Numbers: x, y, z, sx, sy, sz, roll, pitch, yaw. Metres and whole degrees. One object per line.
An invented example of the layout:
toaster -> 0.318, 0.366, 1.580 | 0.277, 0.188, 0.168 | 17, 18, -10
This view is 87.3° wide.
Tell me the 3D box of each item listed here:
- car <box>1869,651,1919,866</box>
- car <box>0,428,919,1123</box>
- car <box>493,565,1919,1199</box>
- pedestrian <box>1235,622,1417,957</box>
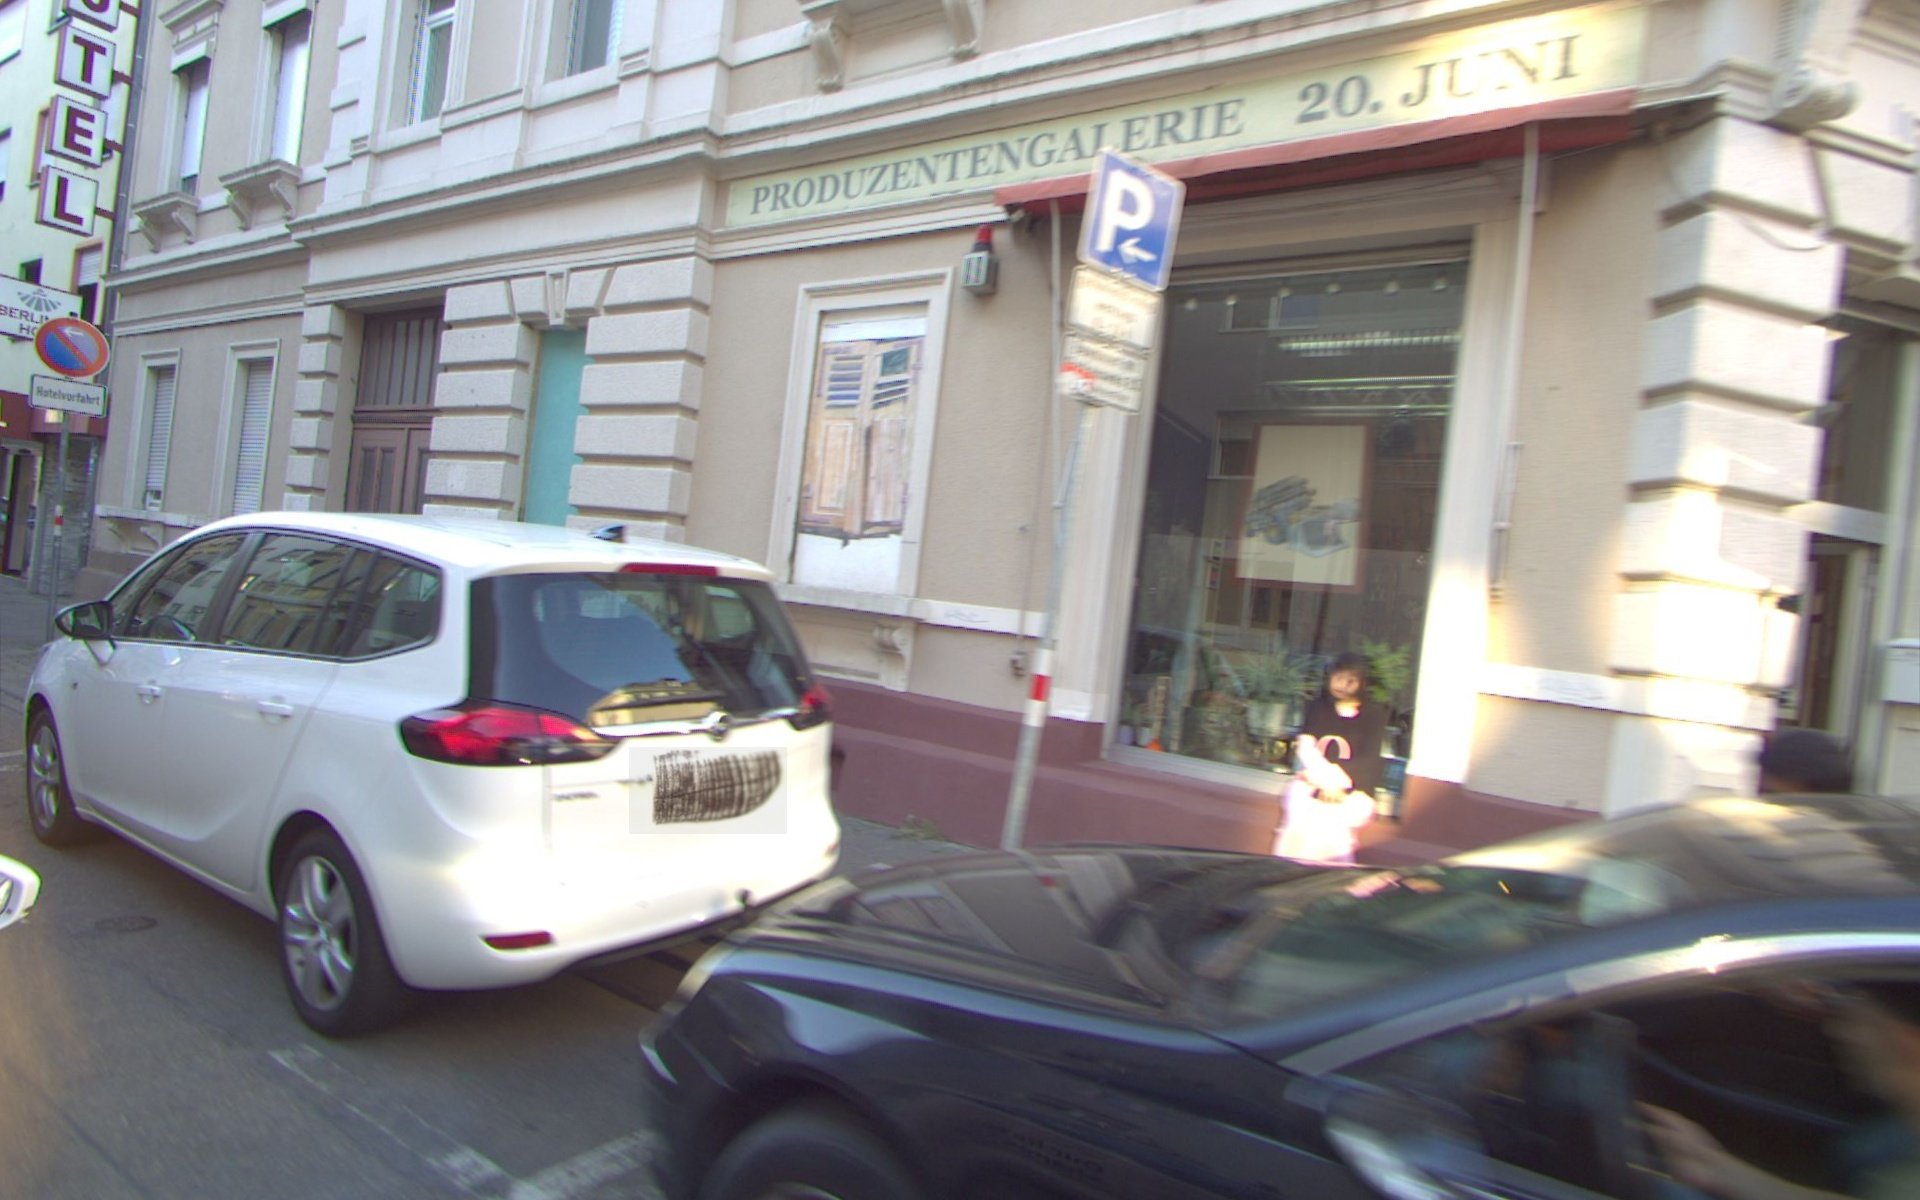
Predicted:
car -> 11.543, 1.817, 10.211 | 2.247, 2.469, 6.190 | 7, -1, 33
car -> -2.572, 0.313, 4.507 | 4.389, 1.744, 1.819 | 7, 0, 33
car -> 1.456, 0.936, 1.622 | 4.655, 1.425, 1.885 | 7, -1, 36
pedestrian -> 1.855, 0.902, 5.064 | 0.571, 1.489, 0.715 | 7, 0, 33
